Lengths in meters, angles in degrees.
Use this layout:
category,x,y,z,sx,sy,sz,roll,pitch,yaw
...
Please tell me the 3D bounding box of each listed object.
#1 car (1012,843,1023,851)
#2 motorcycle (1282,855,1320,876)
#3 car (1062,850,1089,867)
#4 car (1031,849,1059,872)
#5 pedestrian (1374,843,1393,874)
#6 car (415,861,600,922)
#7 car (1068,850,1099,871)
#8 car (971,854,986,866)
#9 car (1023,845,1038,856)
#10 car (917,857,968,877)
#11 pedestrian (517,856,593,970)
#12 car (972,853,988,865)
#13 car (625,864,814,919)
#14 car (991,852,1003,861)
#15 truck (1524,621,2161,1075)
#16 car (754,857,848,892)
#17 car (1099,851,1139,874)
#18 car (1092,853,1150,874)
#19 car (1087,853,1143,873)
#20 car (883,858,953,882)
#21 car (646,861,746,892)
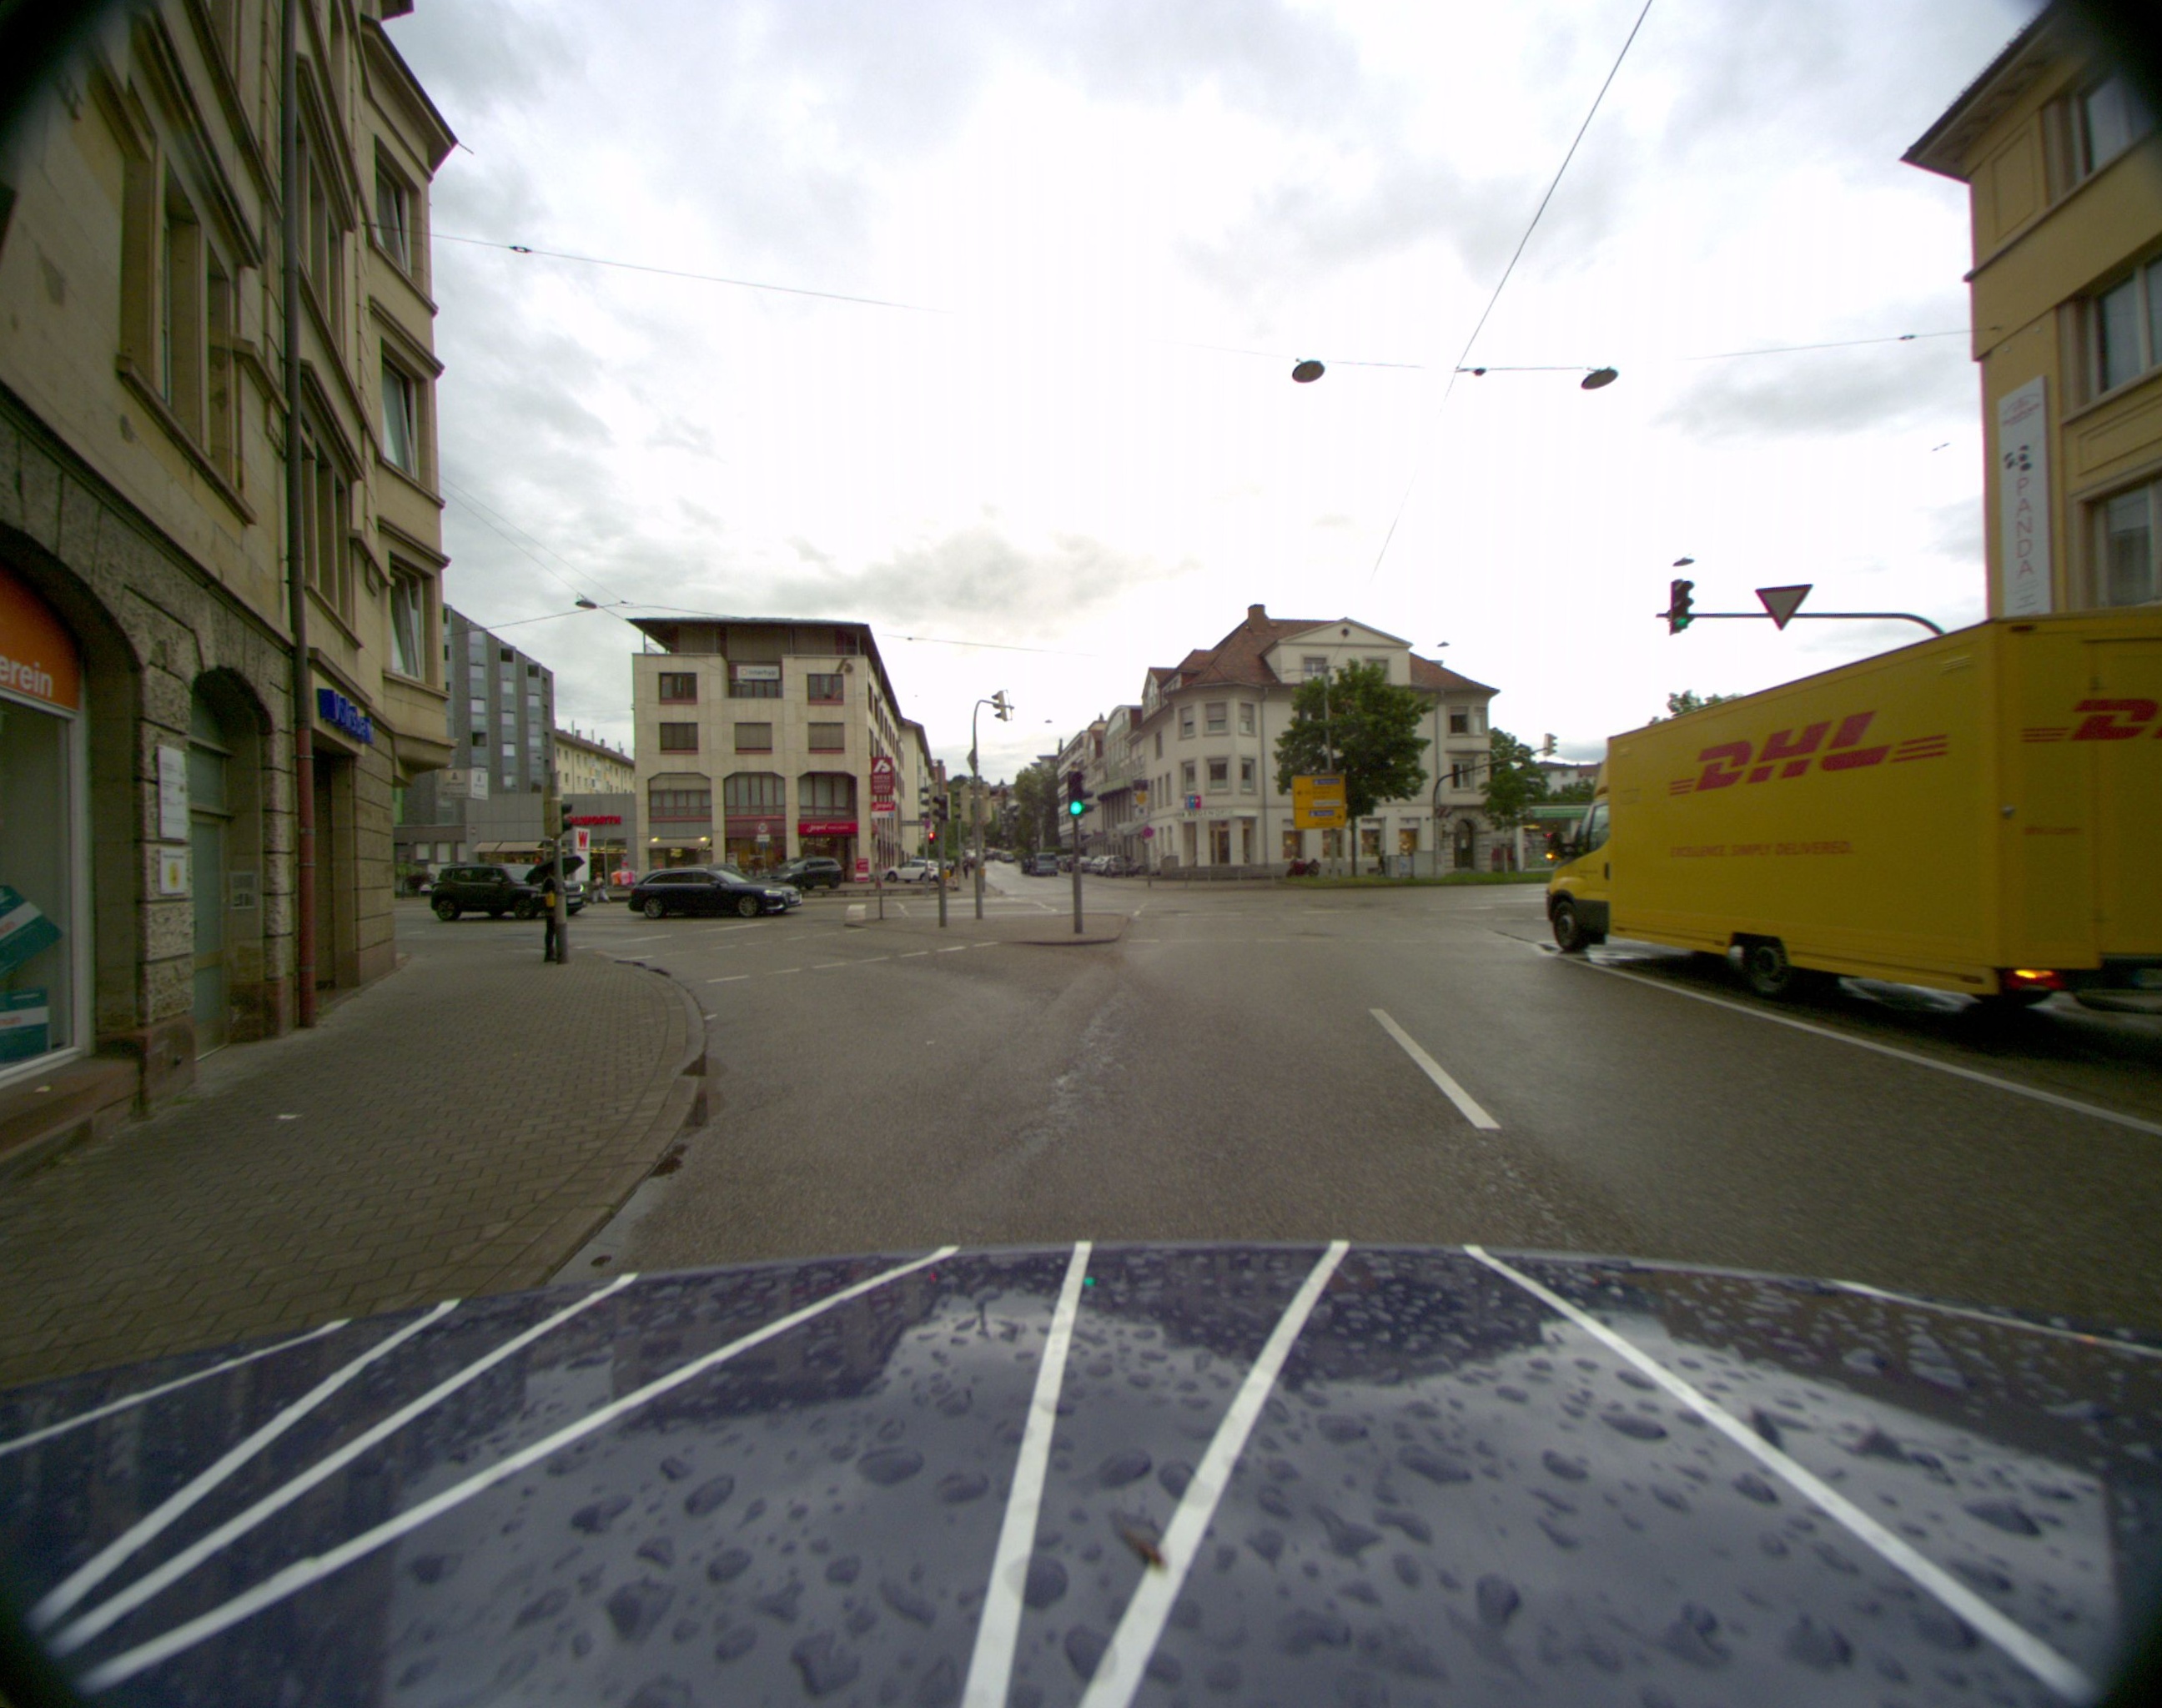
category,x,y,z,sx,sy,sz,roll,pitch,yaw
car,-13.025,-1.490,156.237,2.000,1.576,4.655,-1,1,-8
motorcycle,12.724,0.645,43.973,2.012,1.142,0.718,-1,1,-7
car,-0.583,0.387,71.447,2.000,1.576,3.997,-1,1,-8
car,-3.161,0.553,65.216,2.000,1.904,3.997,-1,1,-8
pedestrian,16.830,0.246,42.320,0.755,1.719,0.682,-1,1,-4
car,-17.231,1.103,22.960,4.195,1.651,1.934,-1,1,6
car,0.162,0.557,65.729,2.000,1.576,3.997,-7,1,-8
car,-14.086,0.751,104.234,2.000,1.576,4.655,-1,1,-8
car,-8.036,-0.557,120.822,2.000,1.576,4.655,-1,1,-8
car,-11.325,1.046,62.319,3.999,1.499,1.998,-1,1,-7
pedestrian,-8.744,0.921,12.643,0.956,1.769,1.181,-2,1,-35
car,-13.097,0.630,98.668,2.000,1.576,4.655,-1,1,-8
car,-10.250,1.048,21.725,4.523,1.408,1.934,-1,1,9
car,-14.797,0.453,133.241,2.000,1.576,4.655,-1,1,-8
truck,7.377,-0.076,7.999,2.232,2.734,7.028,-1,1,8
car,-13.554,0.966,37.034,1.928,1.540,4.264,-1,1,21
car,2.606,0.539,53.071,2.000,1.499,3.997,-1,1,-8
car,3.017,0.691,57.385,4.000,1.499,1.998,-1,1,-10
car,2.651,0.676,59.812,4.000,1.499,1.998,-1,1,-10
car,-10.319,1.012,48.177,3.990,1.486,1.803,-1,1,24
car,-18.899,1.081,37.526,1.929,1.353,4.206,-1,1,20
